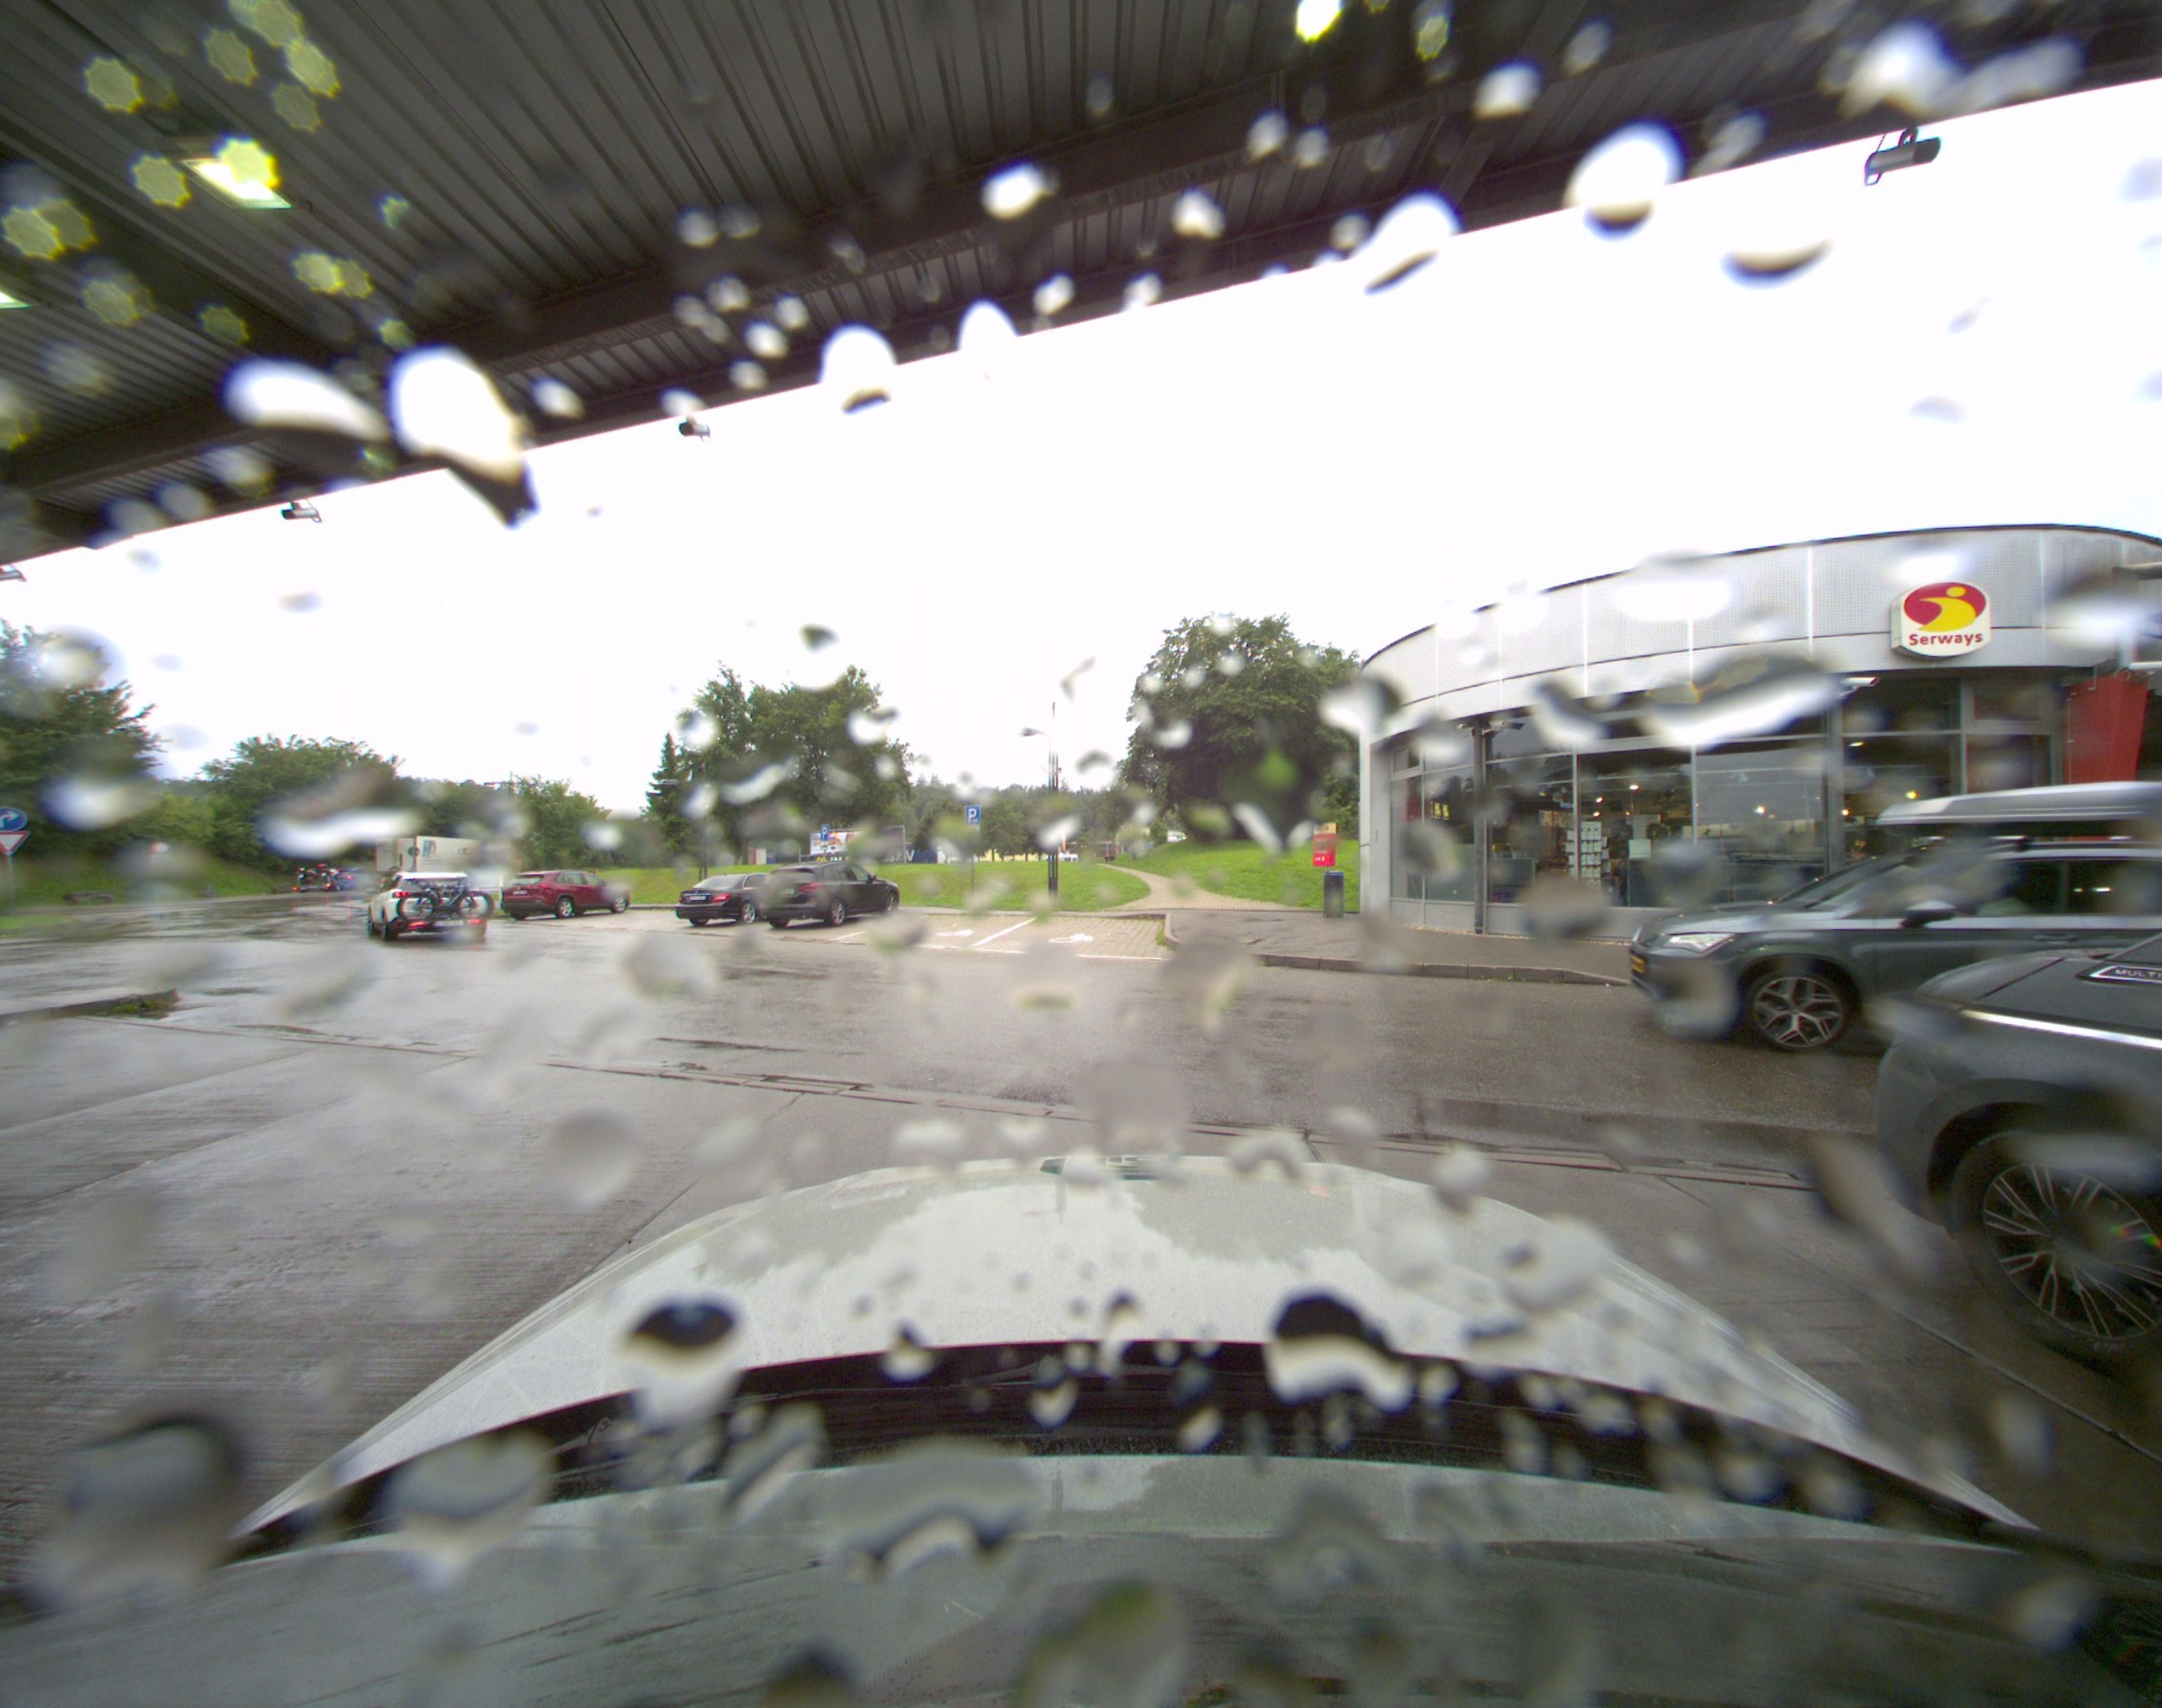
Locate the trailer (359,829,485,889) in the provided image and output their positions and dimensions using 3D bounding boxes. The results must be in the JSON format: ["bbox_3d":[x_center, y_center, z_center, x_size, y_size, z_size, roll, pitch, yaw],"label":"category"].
[{"bbox_3d":[-54.881,0.432,68.484,3.466,4.557,13.827,0,-1,-18],"label":"trailer"}]

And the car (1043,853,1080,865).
[{"bbox_3d":[-3.192,0.804,134.019,5.376,2.013,2.468,-1,0,21],"label":"car"}]

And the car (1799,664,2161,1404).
[{"bbox_3d":[3.714,0.467,1.228,1.809,1.948,4.002,-1,0,2],"label":"car"}]

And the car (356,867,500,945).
[{"bbox_3d":[-15.374,1.103,19.074,4.940,1.565,1.831,-1,0,42],"label":"car"}]

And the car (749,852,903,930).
[{"bbox_3d":[-6.616,0.888,21.739,1.871,1.828,4.429,-2,0,13],"label":"car"}]

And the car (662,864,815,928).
[{"bbox_3d":[-9.617,1.138,23.297,1.871,1.565,4.200,-2,0,13],"label":"car"}]

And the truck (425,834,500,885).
[{"bbox_3d":[-57.103,0.506,75.425,3.467,4.557,6.694,0,-1,-18],"label":"truck"}]

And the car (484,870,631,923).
[{"bbox_3d":[-18.157,1.418,28.522,1.873,1.596,4.364,-2,0,8],"label":"car"}]

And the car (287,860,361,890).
[{"bbox_3d":[-49.207,1.338,53.051,1.934,1.838,4.361,-1,0,-20],"label":"car"}]

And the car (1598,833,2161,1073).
[{"bbox_3d":[6.836,0.650,6.492,4.275,1.587,1.900,-1,0,20],"label":"car"}]
